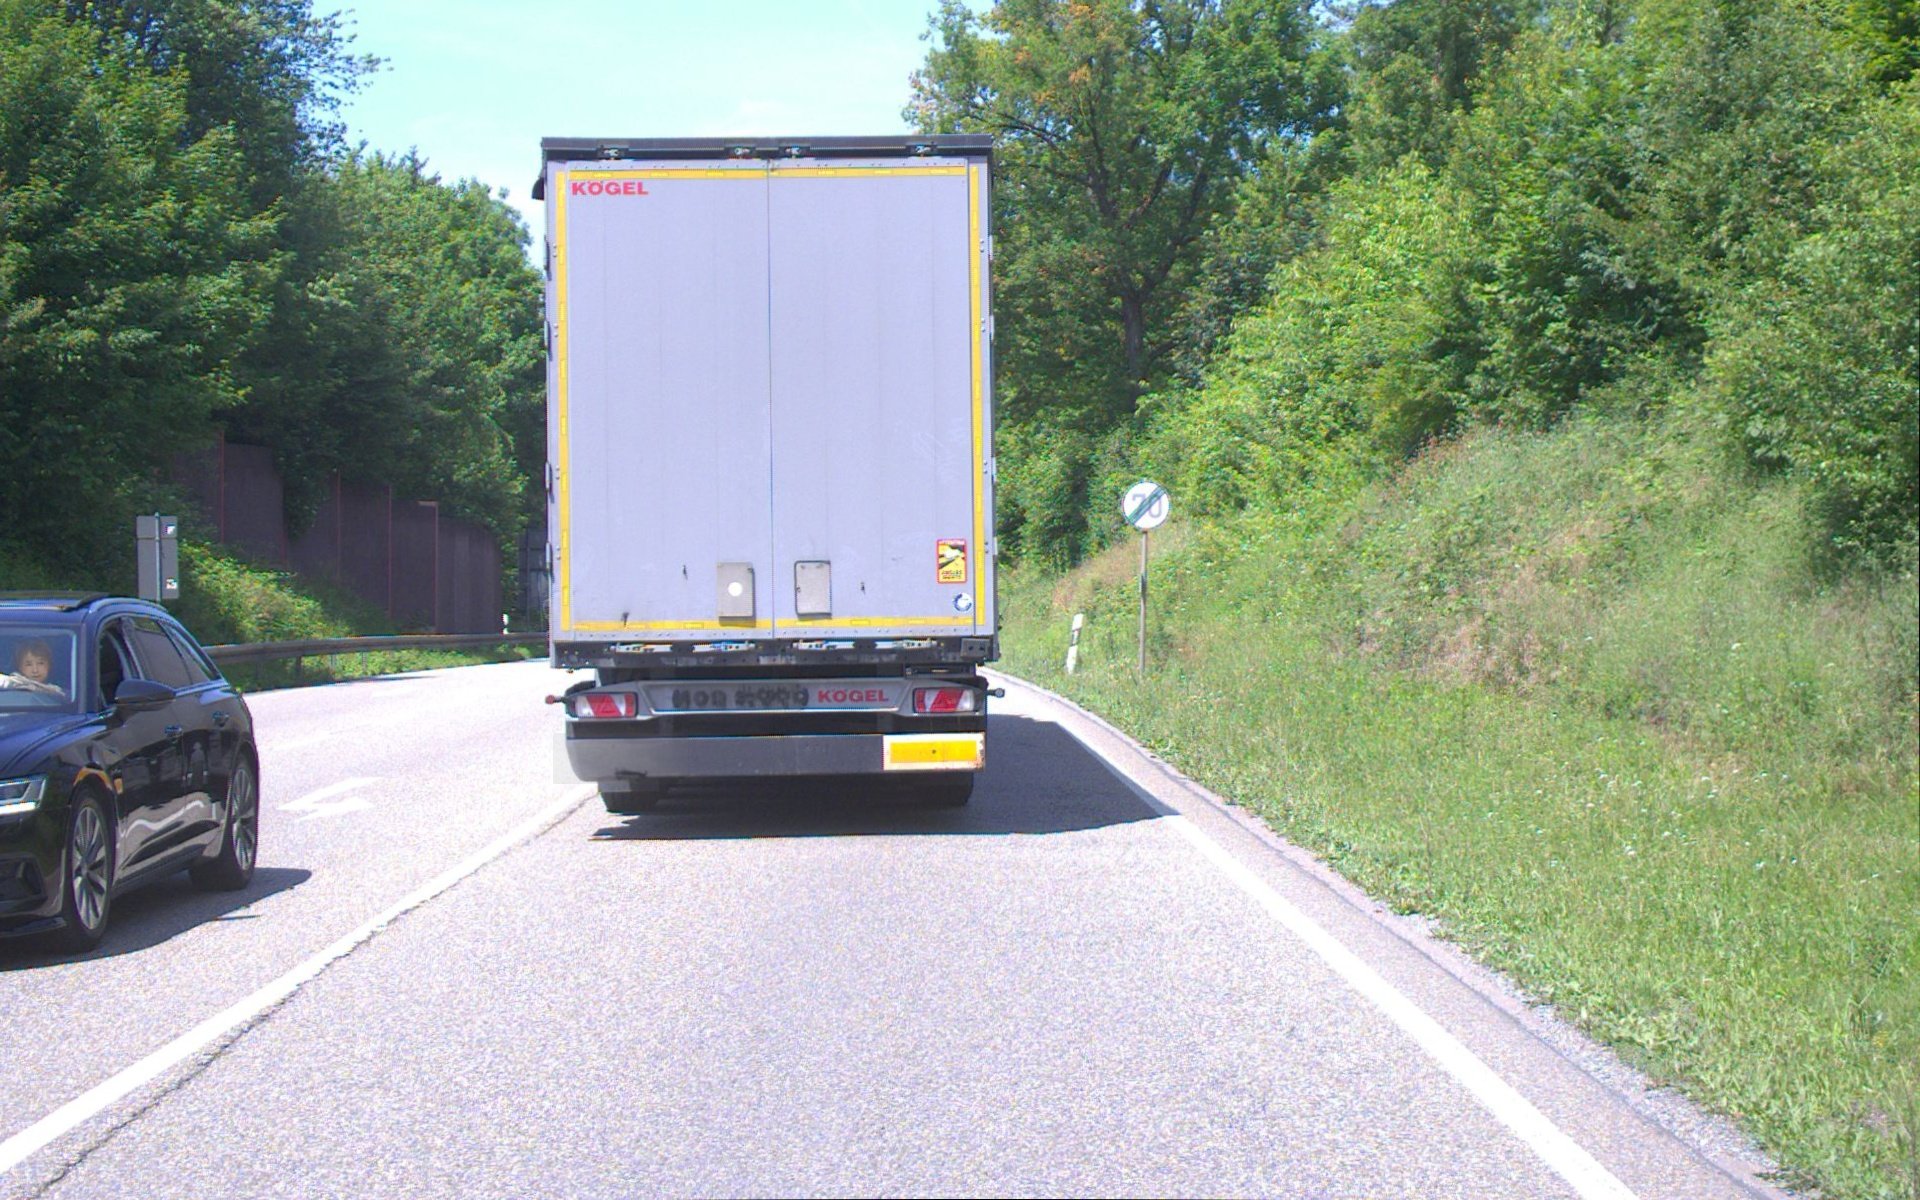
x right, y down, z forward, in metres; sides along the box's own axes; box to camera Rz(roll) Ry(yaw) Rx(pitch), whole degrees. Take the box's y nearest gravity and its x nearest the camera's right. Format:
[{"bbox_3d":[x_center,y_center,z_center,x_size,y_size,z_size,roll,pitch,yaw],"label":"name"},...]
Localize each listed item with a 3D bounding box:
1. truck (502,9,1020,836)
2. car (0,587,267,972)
[{"bbox_3d":[-1.218,-1.035,22.621,2.822,4.588,6.666,-1,1,-2],"label":"truck"},{"bbox_3d":[-4.417,0.681,15.201,1.804,1.448,4.386,-1,0,0],"label":"car"}]
